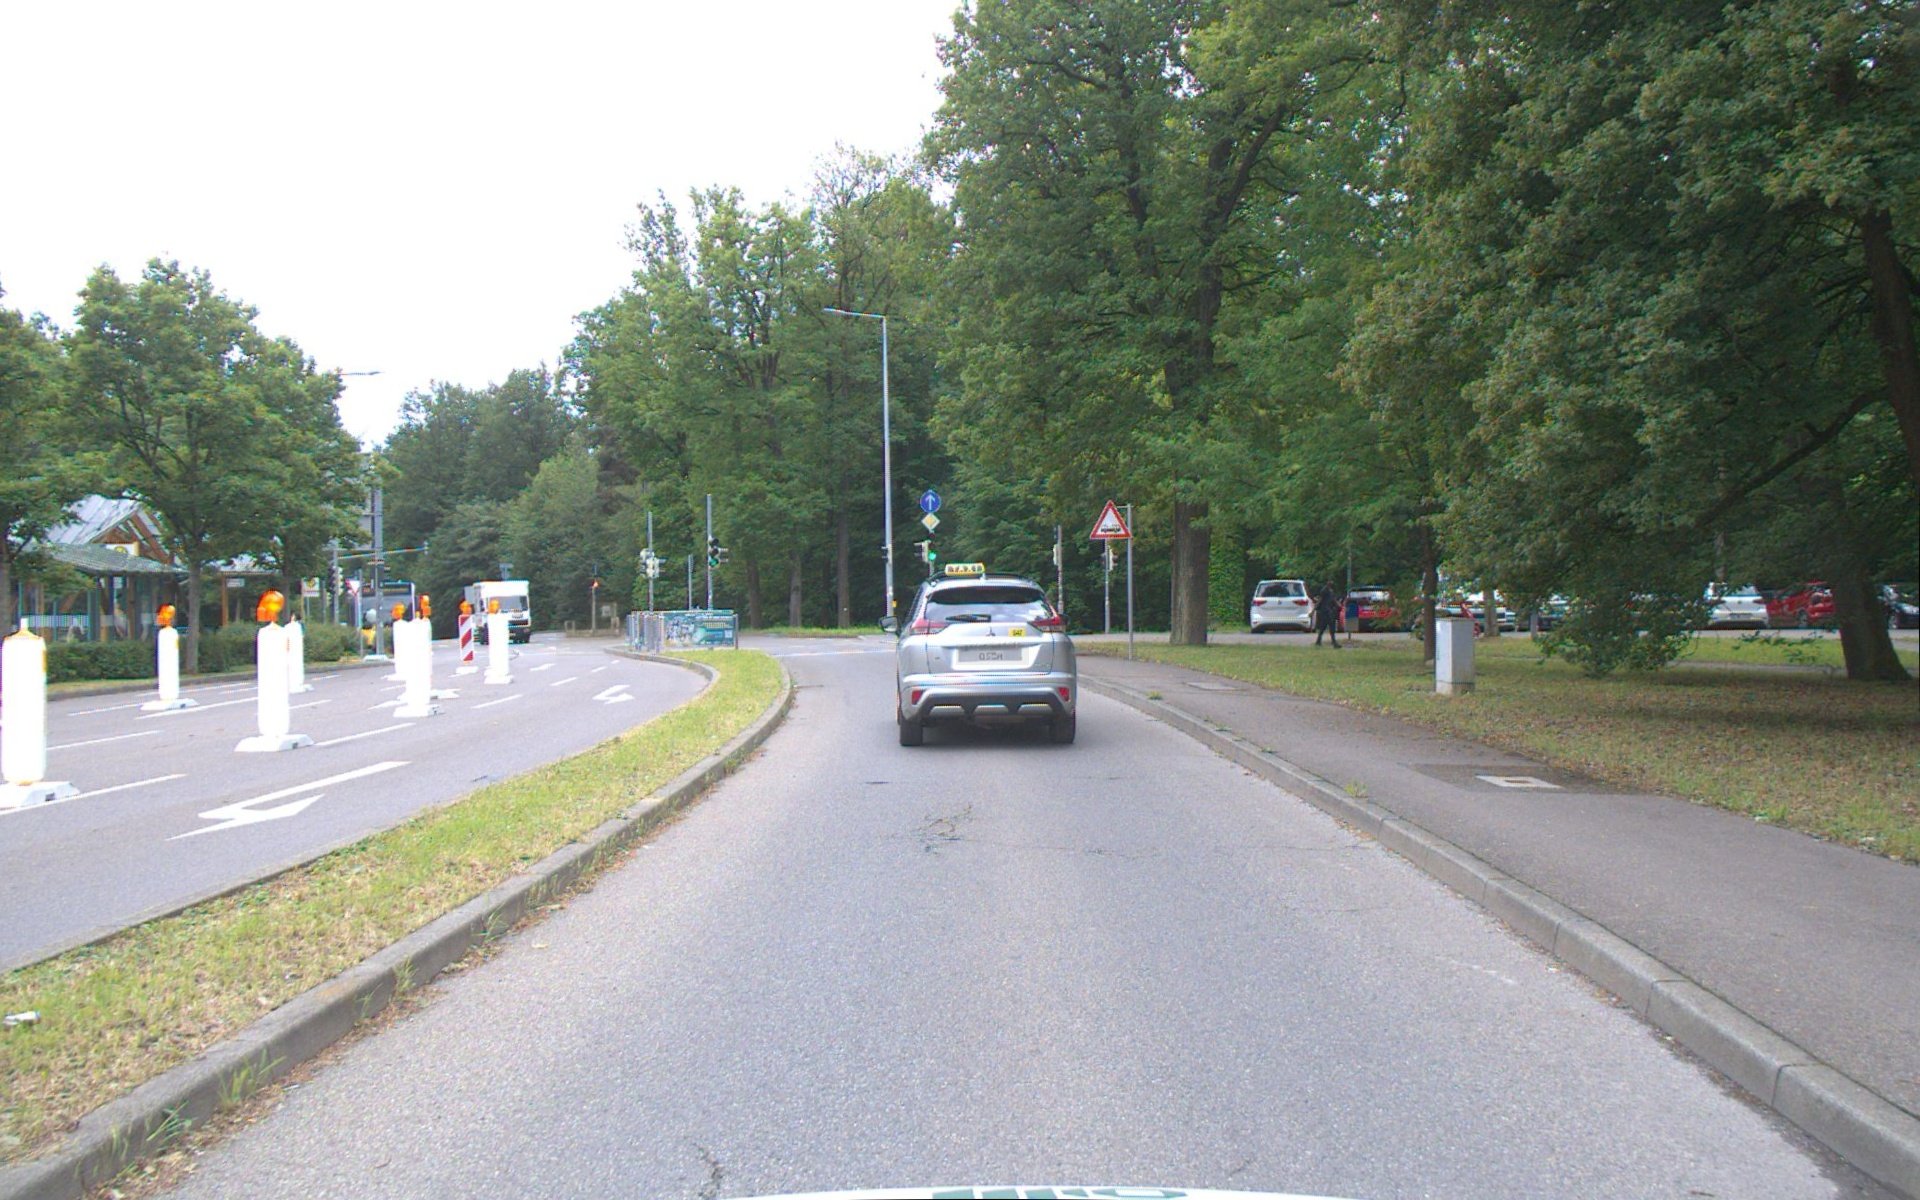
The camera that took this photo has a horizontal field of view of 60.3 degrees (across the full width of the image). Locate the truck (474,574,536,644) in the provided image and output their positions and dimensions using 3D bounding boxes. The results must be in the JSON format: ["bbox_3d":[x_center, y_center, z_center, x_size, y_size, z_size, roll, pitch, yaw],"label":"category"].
[{"bbox_3d":[-23.708,0.473,85.928,2.447,3.344,8.470,-2,0,-20],"label":"truck"}]

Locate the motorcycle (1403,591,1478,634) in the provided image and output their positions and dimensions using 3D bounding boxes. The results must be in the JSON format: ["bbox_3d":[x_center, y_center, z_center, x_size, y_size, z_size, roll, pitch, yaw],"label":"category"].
[{"bbox_3d":[12.454,0.330,42.922,1.788,1.075,0.615,-1,0,10],"label":"motorcycle"}]

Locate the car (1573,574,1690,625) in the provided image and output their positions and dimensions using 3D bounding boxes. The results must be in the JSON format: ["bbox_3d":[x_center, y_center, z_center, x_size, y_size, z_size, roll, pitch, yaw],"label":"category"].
[{"bbox_3d":[19.271,-0.028,47.619,1.526,1.349,3.822,-1,1,-5],"label":"car"}]

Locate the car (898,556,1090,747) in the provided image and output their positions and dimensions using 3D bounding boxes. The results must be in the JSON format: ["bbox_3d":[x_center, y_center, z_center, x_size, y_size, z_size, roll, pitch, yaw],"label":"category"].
[{"bbox_3d":[0.252,0.502,17.425,1.738,1.779,3.778,-1,-1,-3],"label":"car"}]

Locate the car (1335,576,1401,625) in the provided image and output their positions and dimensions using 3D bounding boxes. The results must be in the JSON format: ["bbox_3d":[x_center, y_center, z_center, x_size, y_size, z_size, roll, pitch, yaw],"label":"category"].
[{"bbox_3d":[12.029,-0.015,48.613,1.795,1.349,4.003,-1,1,15],"label":"car"}]

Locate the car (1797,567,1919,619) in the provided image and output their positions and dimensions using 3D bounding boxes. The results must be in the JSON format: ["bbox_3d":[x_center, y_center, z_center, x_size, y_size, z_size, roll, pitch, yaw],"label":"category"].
[{"bbox_3d":[25.397,-0.202,45.771,3.740,1.349,1.559,-1,0,-6],"label":"car"}]

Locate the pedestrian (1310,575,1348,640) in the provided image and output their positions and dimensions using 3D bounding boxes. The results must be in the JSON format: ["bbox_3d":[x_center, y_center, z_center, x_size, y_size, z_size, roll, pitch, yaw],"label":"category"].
[{"bbox_3d":[8.922,0.179,39.978,0.822,1.532,0.791,-1,0,14],"label":"pedestrian"}]

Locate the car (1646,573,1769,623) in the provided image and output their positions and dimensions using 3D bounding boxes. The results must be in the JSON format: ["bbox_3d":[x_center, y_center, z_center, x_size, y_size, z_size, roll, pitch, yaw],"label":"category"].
[{"bbox_3d":[21.401,-0.065,47.492,1.526,1.349,3.822,-1,1,-5],"label":"car"}]

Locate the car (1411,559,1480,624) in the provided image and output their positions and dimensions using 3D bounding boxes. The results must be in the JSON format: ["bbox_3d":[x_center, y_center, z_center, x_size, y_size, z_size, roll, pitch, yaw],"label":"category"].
[{"bbox_3d":[14.236,-0.270,48.640,1.795,1.793,4.003,-1,1,15],"label":"car"}]

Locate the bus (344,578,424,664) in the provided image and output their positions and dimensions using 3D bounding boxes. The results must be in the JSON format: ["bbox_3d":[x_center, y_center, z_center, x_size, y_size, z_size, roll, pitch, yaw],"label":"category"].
[{"bbox_3d":[-27.283,0.886,77.969,2.783,3.666,12.715,-1,1,-22],"label":"bus"}]

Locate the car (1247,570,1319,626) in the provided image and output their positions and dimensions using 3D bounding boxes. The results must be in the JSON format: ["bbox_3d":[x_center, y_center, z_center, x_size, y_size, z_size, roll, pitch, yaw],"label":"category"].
[{"bbox_3d":[9.579,-0.088,48.913,1.795,1.563,4.003,-1,1,15],"label":"car"}]

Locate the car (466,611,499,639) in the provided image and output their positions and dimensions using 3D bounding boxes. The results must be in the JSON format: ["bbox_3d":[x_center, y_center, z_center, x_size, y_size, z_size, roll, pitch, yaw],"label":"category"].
[{"bbox_3d":[-27.952,1.453,96.789,1.534,1.555,3.801,-1,1,-21],"label":"car"}]

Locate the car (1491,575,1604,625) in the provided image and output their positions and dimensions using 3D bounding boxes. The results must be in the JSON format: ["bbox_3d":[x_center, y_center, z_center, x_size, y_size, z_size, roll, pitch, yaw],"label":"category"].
[{"bbox_3d":[16.928,-0.009,47.824,1.526,1.349,3.996,-1,1,-5],"label":"car"}]
